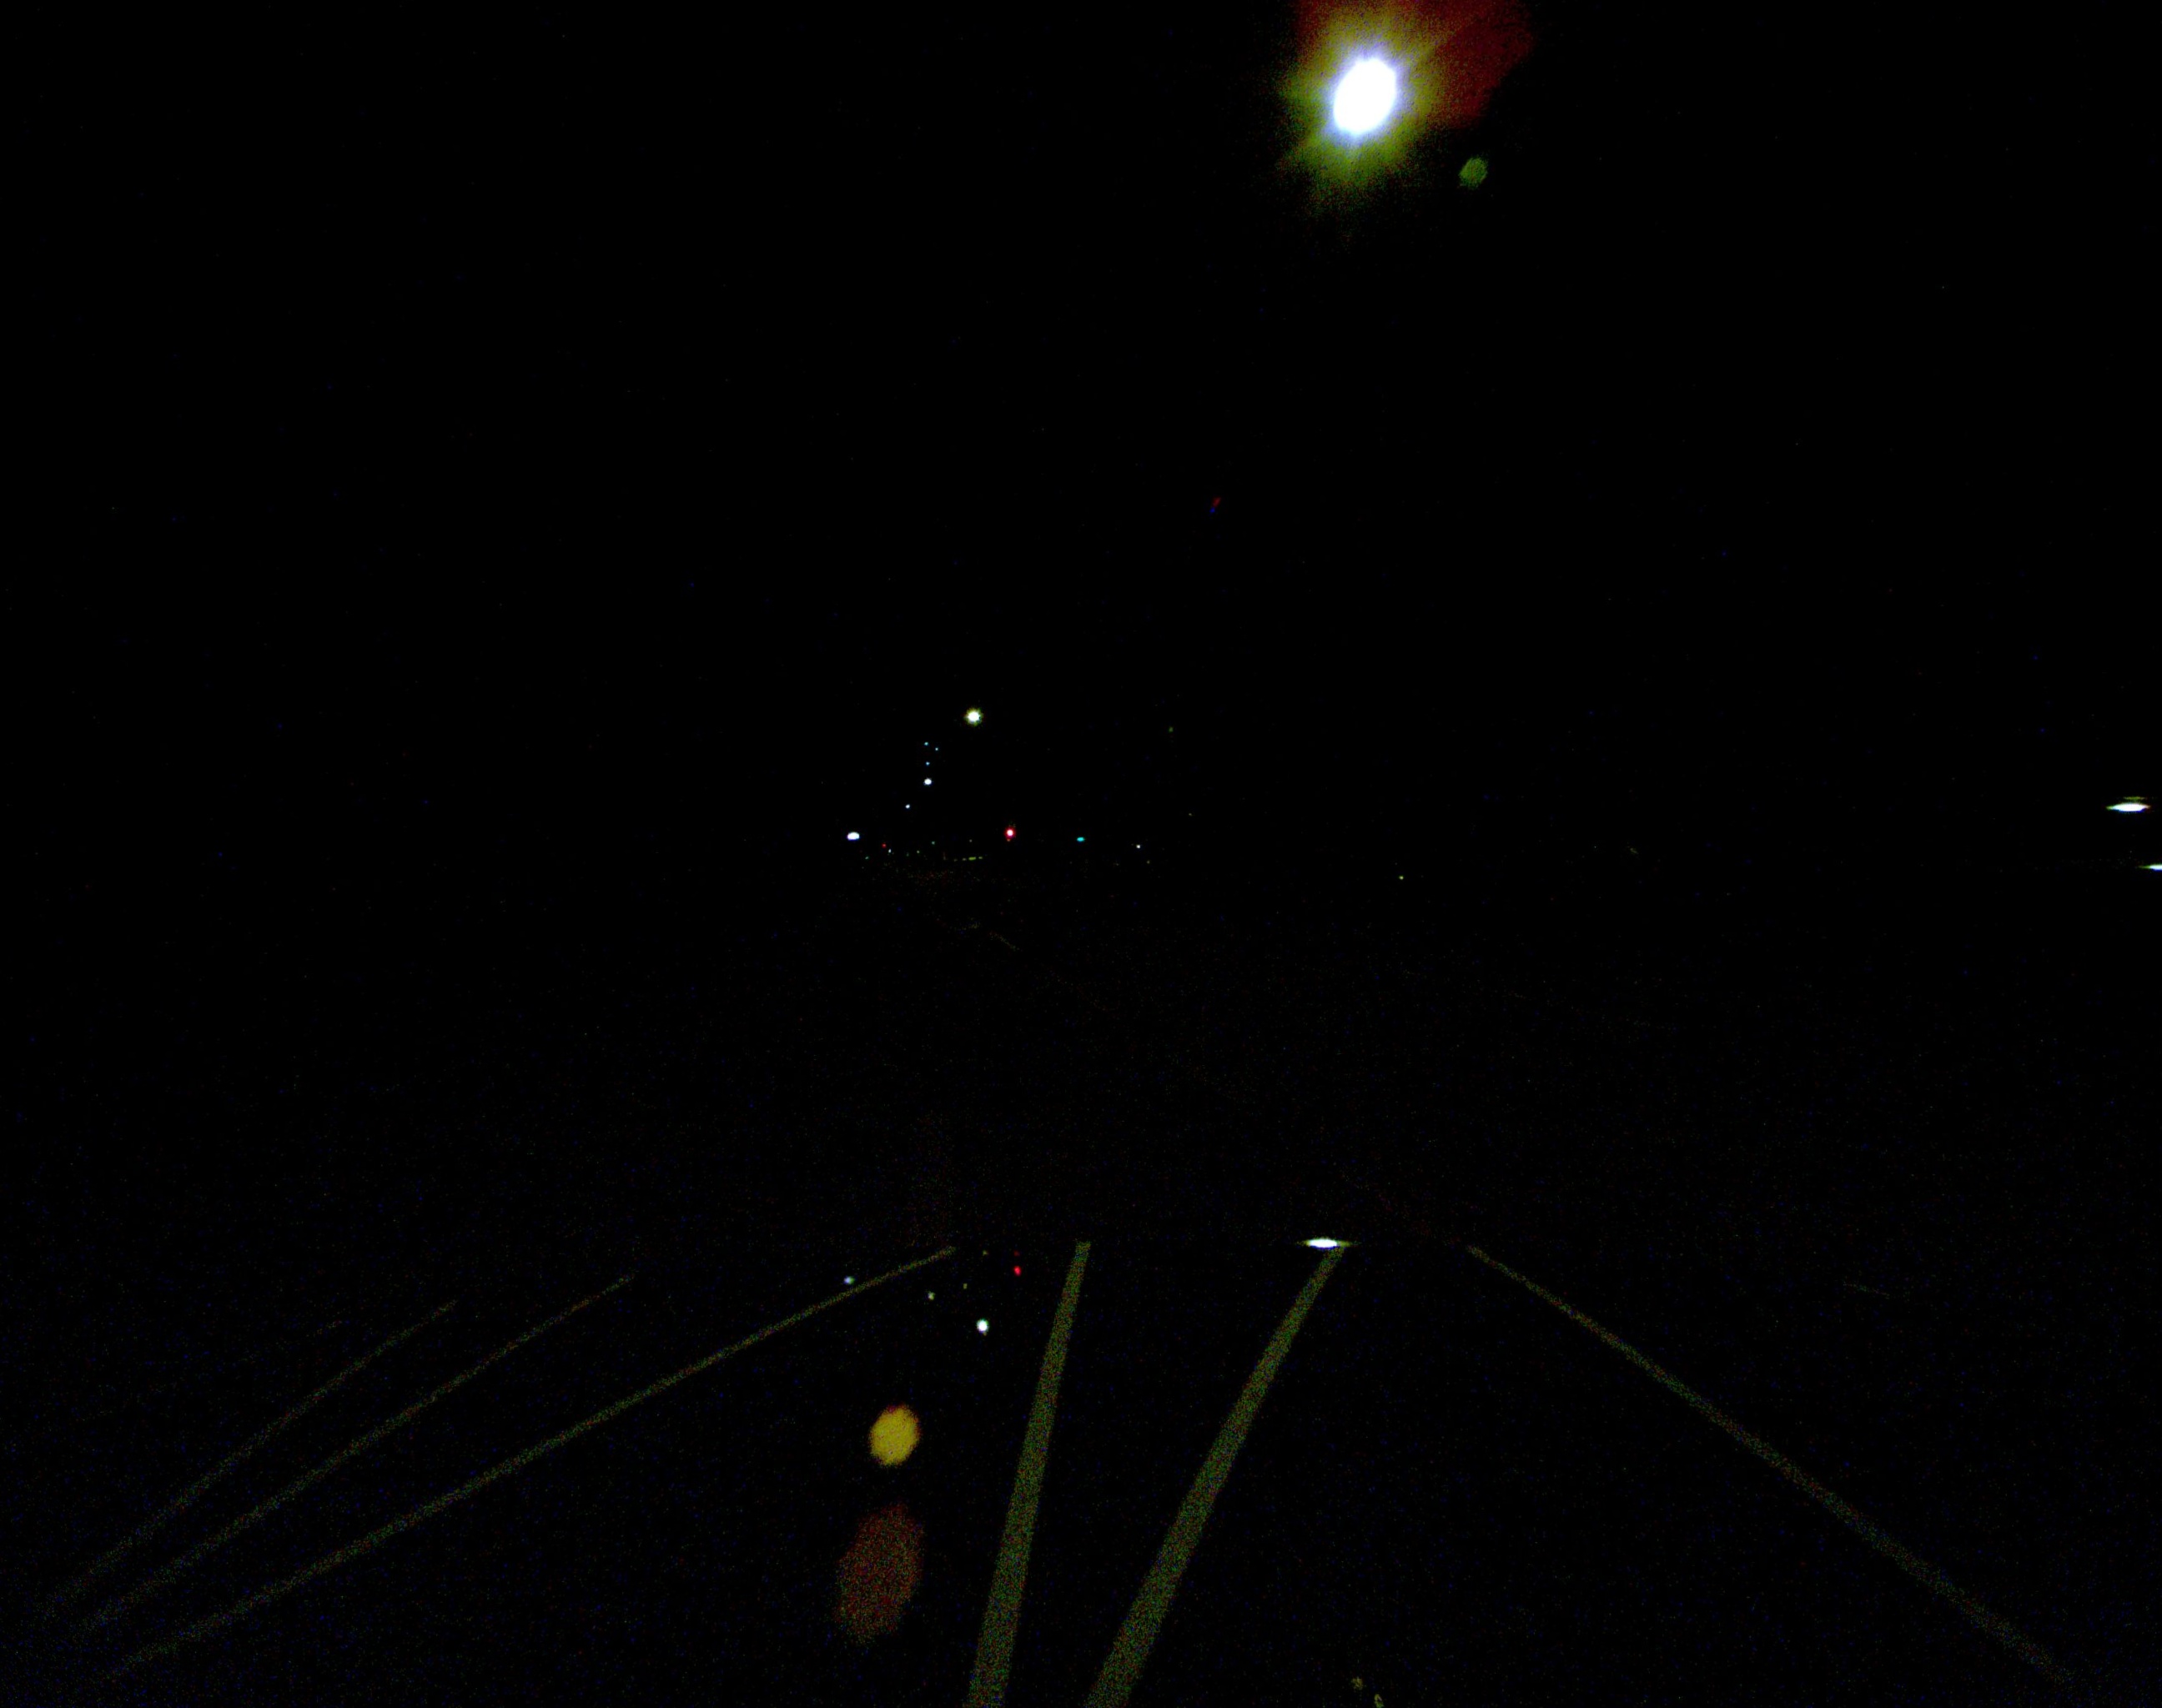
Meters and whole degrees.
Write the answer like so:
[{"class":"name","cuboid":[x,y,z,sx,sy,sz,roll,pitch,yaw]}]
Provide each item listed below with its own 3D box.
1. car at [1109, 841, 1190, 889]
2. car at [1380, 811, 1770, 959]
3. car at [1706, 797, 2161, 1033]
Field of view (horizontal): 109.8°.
[{"class":"car","cuboid":[2.297,0.345,26.316,1.634,1.456,3.510,-3,1,-14]},{"class":"car","cuboid":[6.255,0.324,10.340,1.644,1.425,4.343,-6,2,-16]},{"class":"car","cuboid":[7.486,0.361,5.549,1.557,1.425,4.342,-6,2,-15]}]
